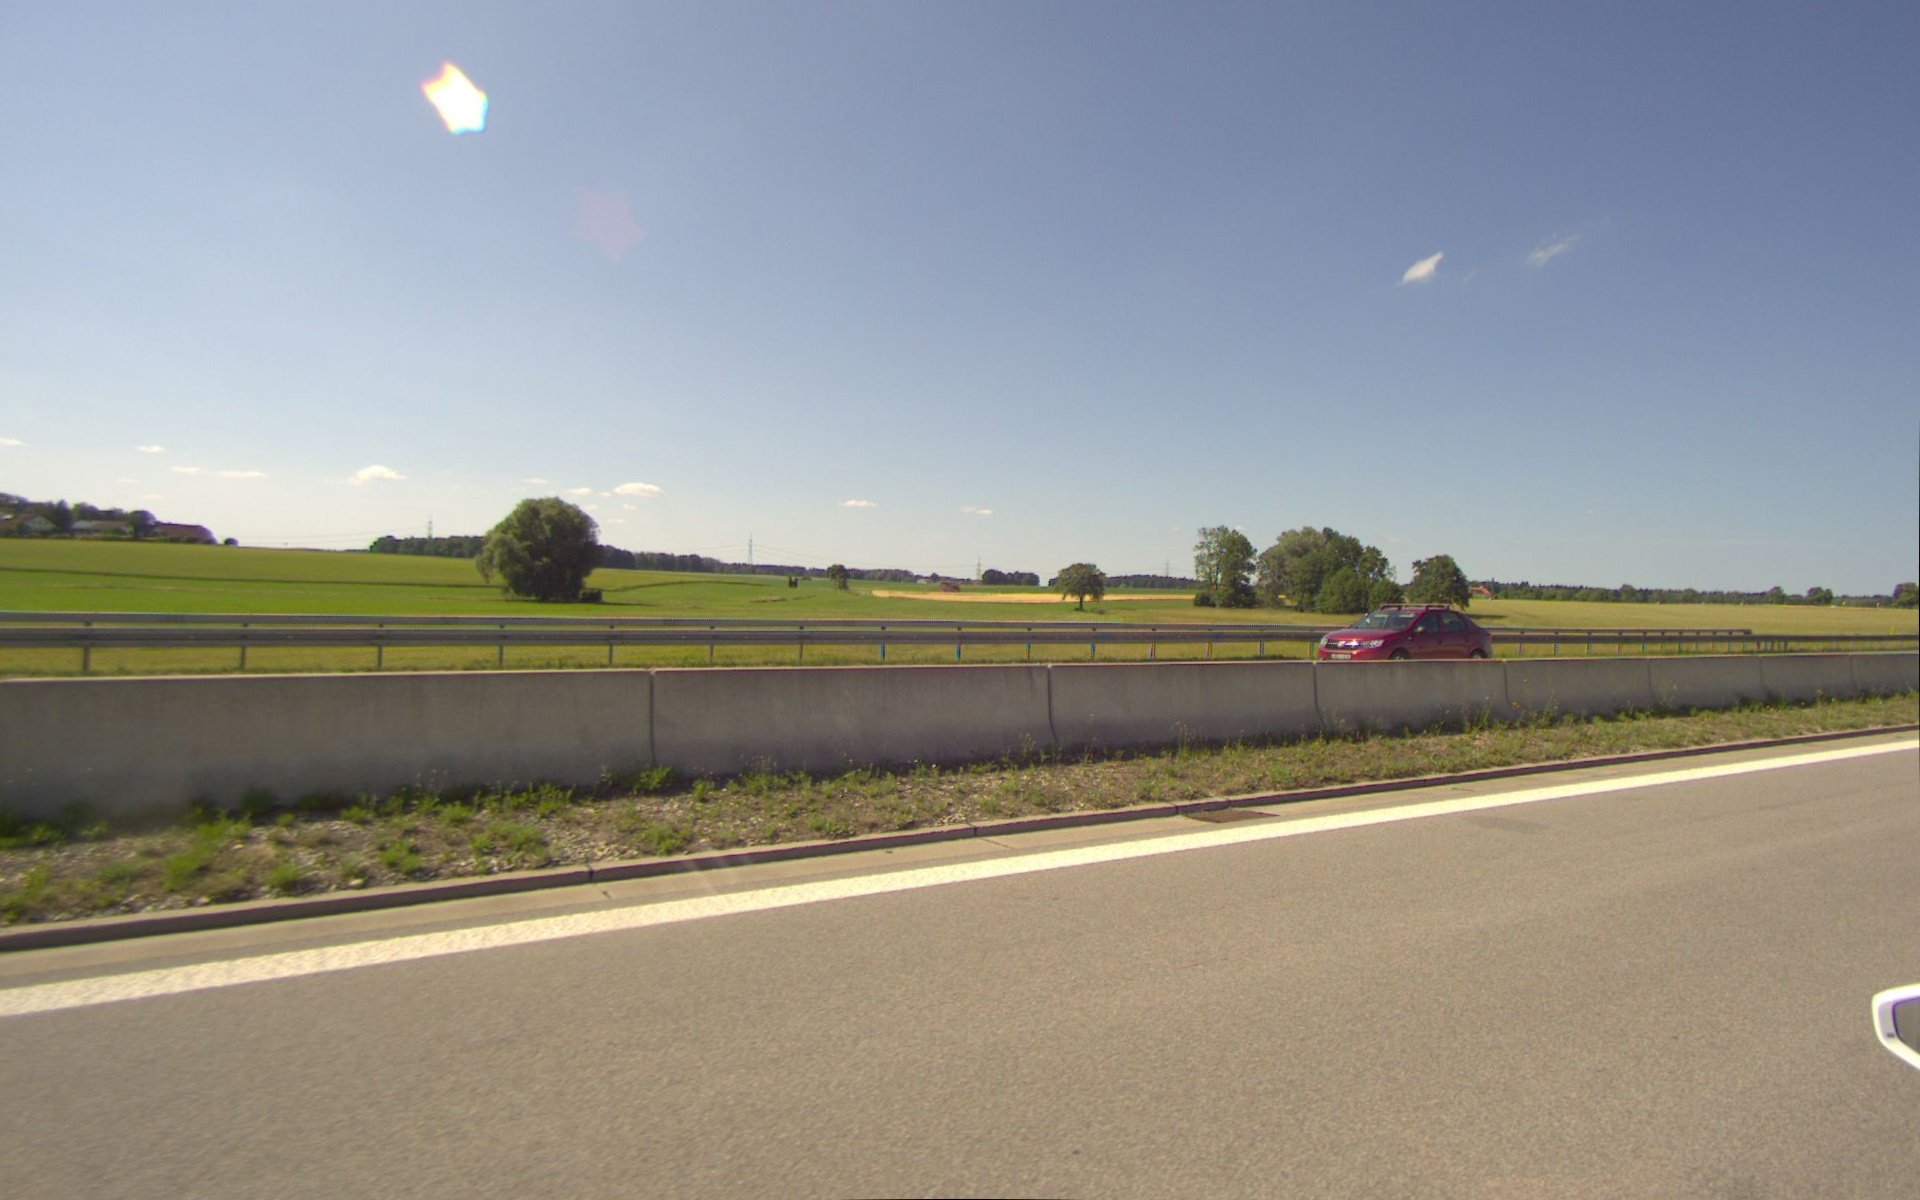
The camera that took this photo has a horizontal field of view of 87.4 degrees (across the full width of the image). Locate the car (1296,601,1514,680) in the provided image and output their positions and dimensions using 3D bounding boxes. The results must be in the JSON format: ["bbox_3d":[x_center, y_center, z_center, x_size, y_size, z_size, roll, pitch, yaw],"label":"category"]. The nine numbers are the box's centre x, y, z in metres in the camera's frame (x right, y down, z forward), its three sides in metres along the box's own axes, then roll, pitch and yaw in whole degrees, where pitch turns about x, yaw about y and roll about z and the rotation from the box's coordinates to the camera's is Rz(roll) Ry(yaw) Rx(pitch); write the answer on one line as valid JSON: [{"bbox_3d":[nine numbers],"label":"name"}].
[{"bbox_3d":[9.585,0.861,21.529,4.749,1.543,1.889,2,-2,-30],"label":"car"}]
